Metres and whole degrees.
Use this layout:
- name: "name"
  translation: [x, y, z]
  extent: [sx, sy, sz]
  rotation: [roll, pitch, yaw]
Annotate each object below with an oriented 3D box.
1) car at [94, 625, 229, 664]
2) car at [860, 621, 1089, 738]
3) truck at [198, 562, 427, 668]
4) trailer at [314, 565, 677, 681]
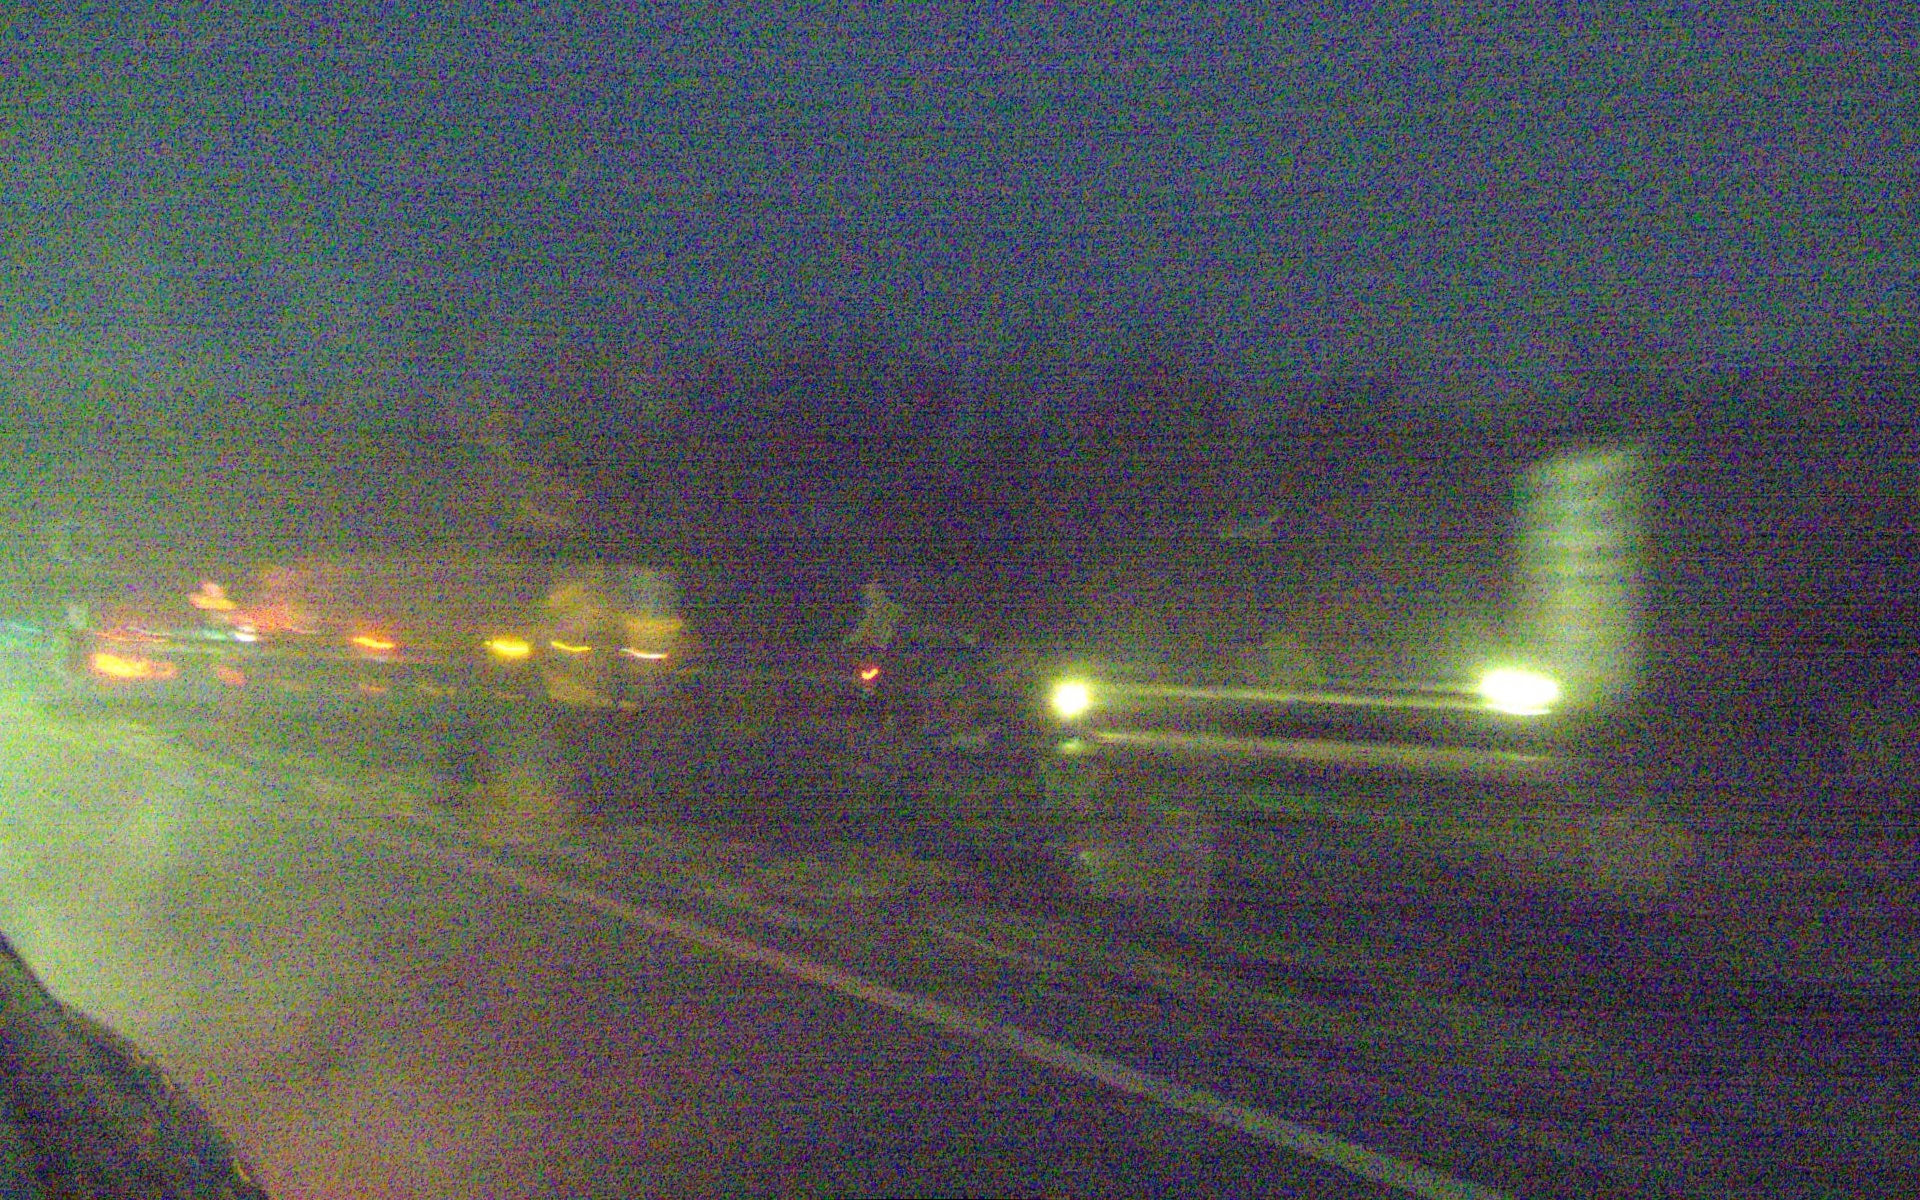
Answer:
- name: "car"
  translation: [-29.161, 1.606, 37.000]
  extent: [3.971, 1.289, 1.638]
  rotation: [1, -2, 10]
- name: "car"
  translation: [0.357, 1.532, 20.347]
  extent: [4.411, 2.121, 1.751]
  rotation: [1, -2, 8]
- name: "truck"
  translation: [-26.101, 0.605, 40.979]
  extent: [7.377, 4.003, 3.398]
  rotation: [1, -2, 10]
- name: "trailer"
  translation: [-18.005, 0.828, 39.422]
  extent: [13.218, 3.907, 3.440]
  rotation: [2, -1, 11]
